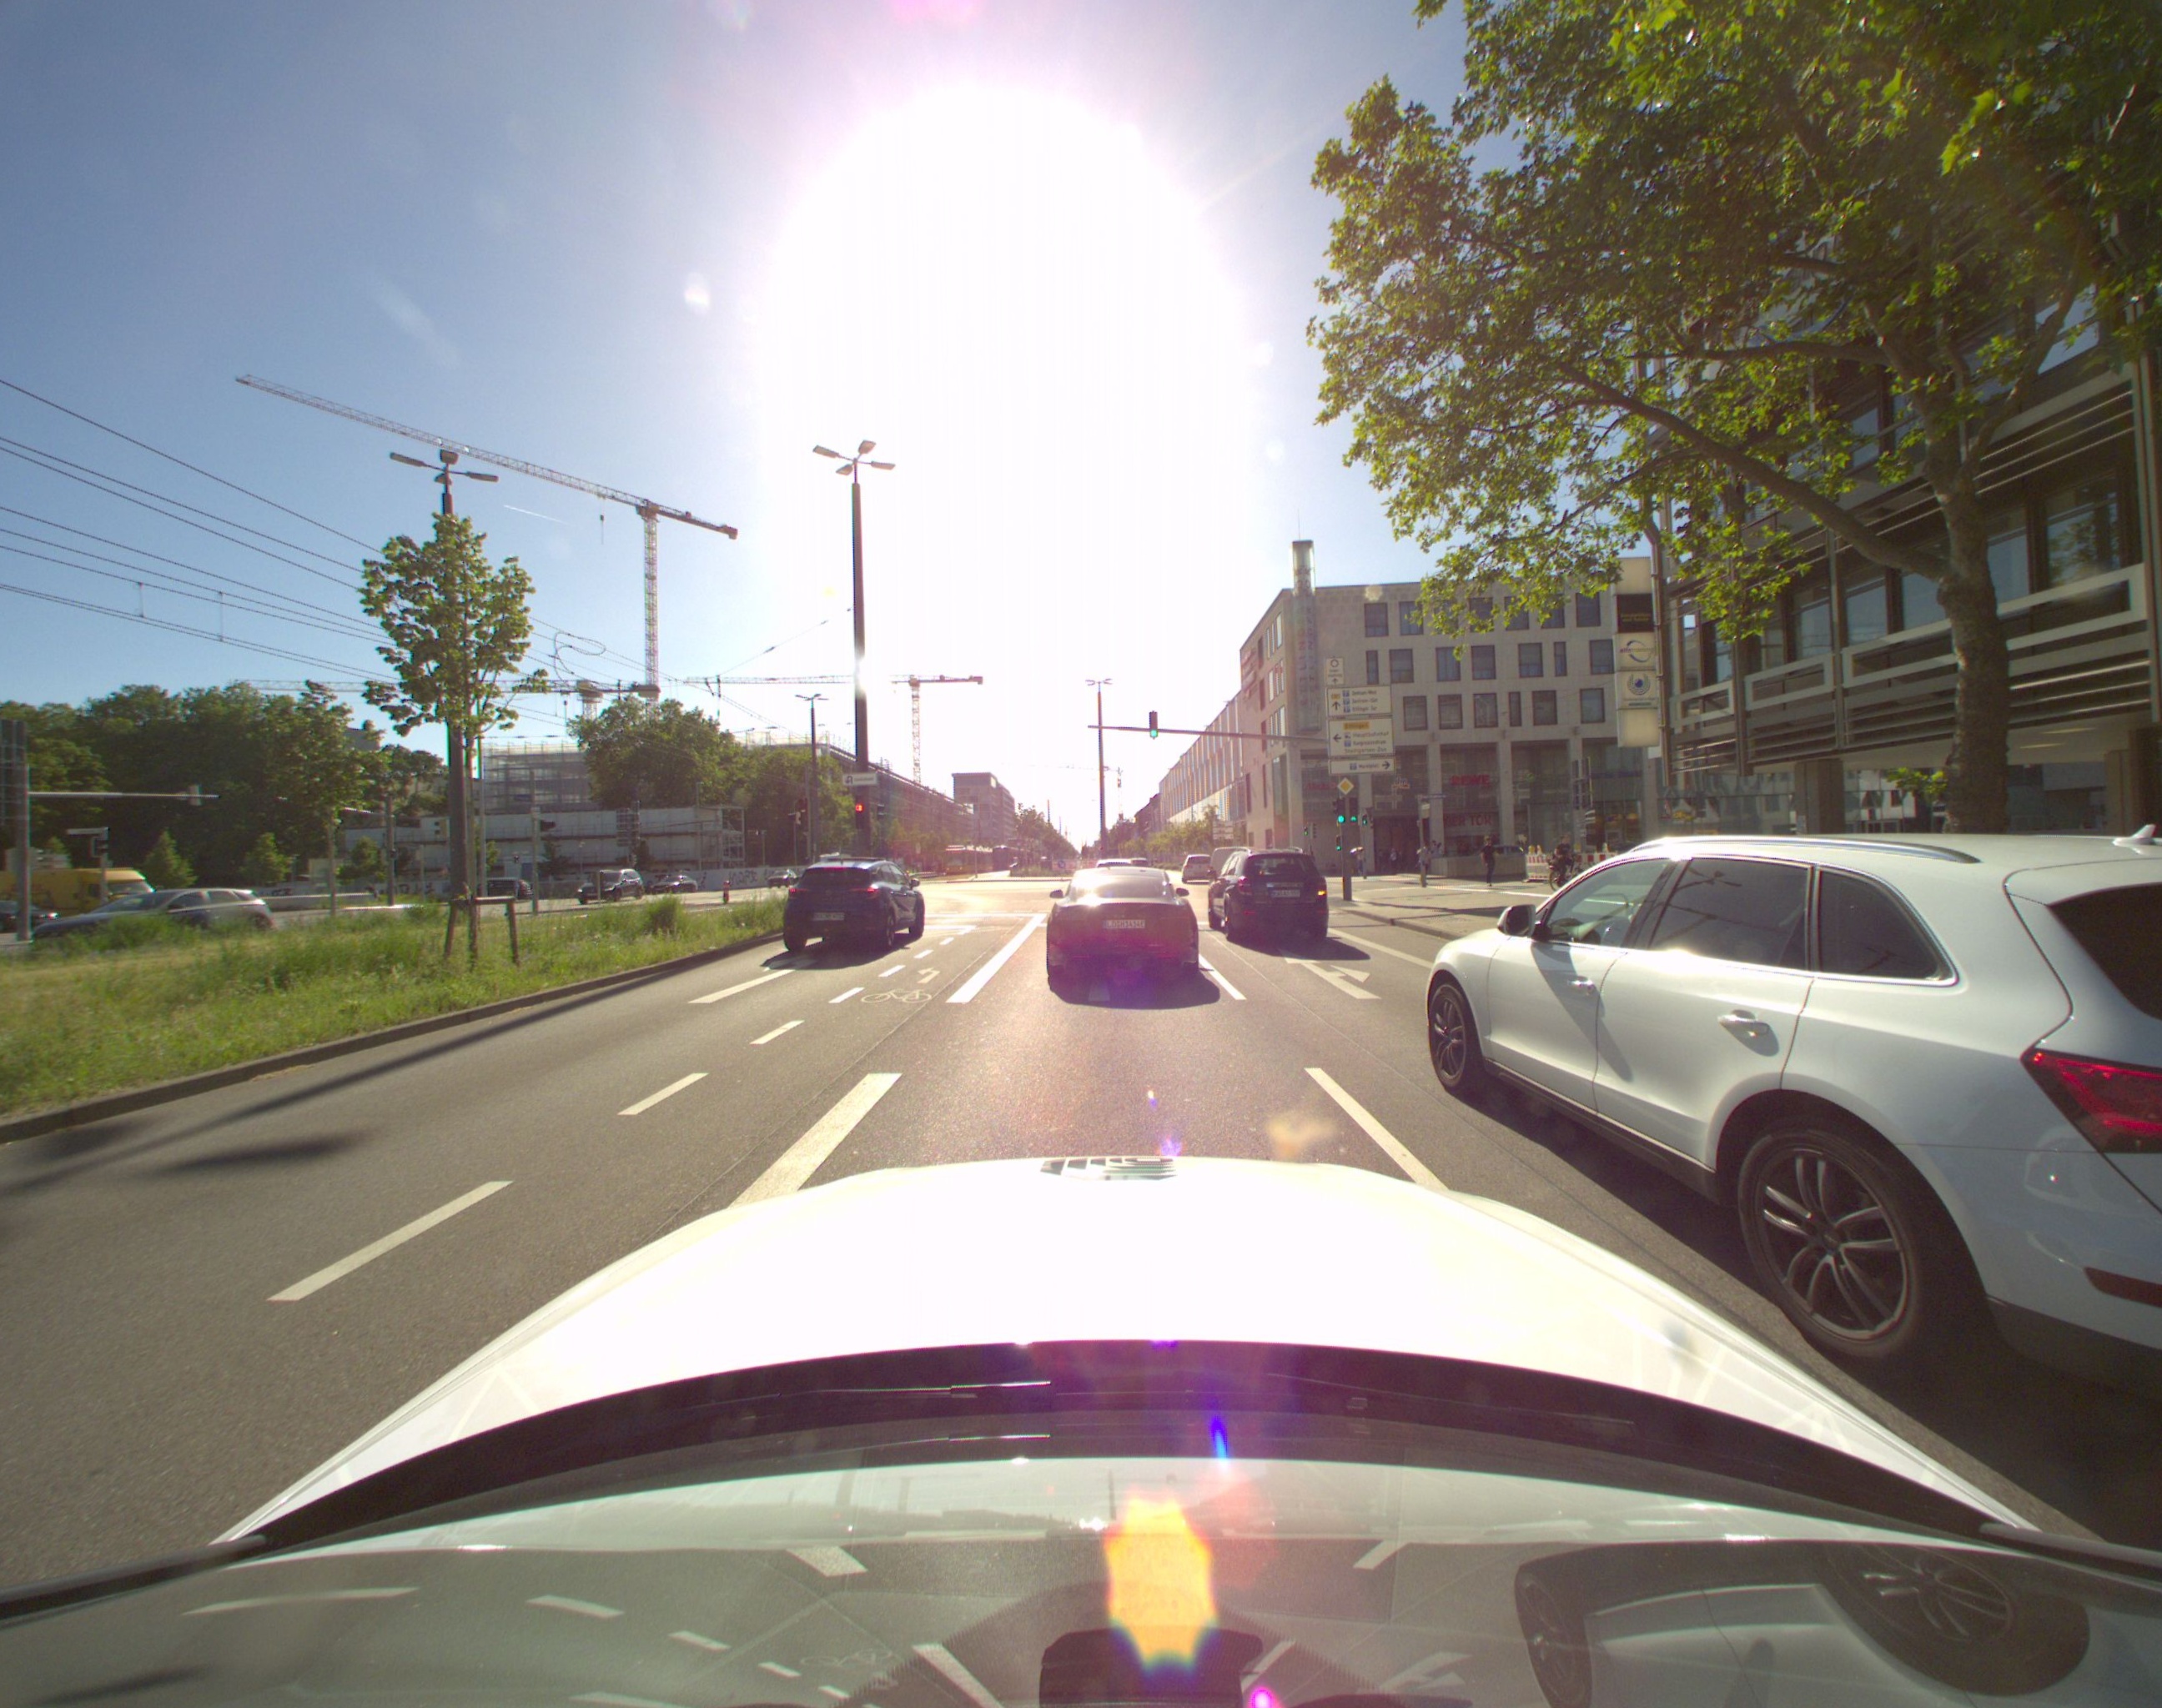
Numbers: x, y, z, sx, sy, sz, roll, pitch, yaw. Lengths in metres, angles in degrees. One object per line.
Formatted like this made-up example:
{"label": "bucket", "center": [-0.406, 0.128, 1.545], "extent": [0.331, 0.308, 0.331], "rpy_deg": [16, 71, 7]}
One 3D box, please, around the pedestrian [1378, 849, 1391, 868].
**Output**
{"label": "pedestrian", "center": [25.273, 0.379, 67.874], "extent": [0.559, 1.608, 0.742], "rpy_deg": [-2, 0, -35]}

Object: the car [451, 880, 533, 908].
{"label": "car", "center": [-39.611, 2.664, 54.872], "extent": [3.997, 1.601, 1.988], "rpy_deg": [-2, 0, -18]}

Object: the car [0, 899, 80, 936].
{"label": "car", "center": [-48.749, 2.920, 37.193], "extent": [3.967, 1.539, 1.907], "rpy_deg": [-2, -1, 6]}

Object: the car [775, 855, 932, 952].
{"label": "car", "center": [-4.103, 0.826, 15.401], "extent": [1.764, 1.588, 4.089], "rpy_deg": [0, 0, 1]}

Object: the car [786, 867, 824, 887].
{"label": "car", "center": [-24.803, 2.035, 73.271], "extent": [1.939, 1.707, 4.366], "rpy_deg": [-2, 0, 0]}

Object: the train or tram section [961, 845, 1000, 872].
{"label": "train or tram section", "center": [-13.092, 0.708, 107.504], "extent": [2.838, 3.322, 15.966], "rpy_deg": [0, -1, 1]}

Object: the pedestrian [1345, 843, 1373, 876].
{"label": "pedestrian", "center": [15.891, 0.303, 46.568], "extent": [0.963, 1.801, 1.523], "rpy_deg": [-4, -1, 1]}

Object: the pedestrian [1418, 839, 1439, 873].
{"label": "pedestrian", "center": [17.387, 0.099, 40.744], "extent": [0.659, 1.612, 0.525], "rpy_deg": [-4, -1, -8]}

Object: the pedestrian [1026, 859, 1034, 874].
{"label": "pedestrian", "center": [-5.651, 1.336, 89.641], "extent": [0.739, 1.628, 0.862], "rpy_deg": [-2, -1, 2]}

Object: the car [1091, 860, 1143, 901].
{"label": "car", "center": [1.279, 0.898, 29.464], "extent": [1.710, 1.320, 4.001], "rpy_deg": [-1, 0, 2]}

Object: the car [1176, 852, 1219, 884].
{"label": "car", "center": [6.064, 0.701, 42.869], "extent": [1.778, 1.546, 4.041], "rpy_deg": [-1, 0, 2]}

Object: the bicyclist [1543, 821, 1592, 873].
{"label": "bicyclist", "center": [14.263, -0.201, 23.909], "extent": [0.878, 1.477, 0.883], "rpy_deg": [-2, 0, 1]}

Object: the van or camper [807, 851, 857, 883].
{"label": "van or camper", "center": [-24.788, 1.256, 81.461], "extent": [2.597, 2.937, 7.340], "rpy_deg": [-2, 0, 0]}

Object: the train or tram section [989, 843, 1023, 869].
{"label": "train or tram section", "center": [-10.029, 0.355, 110.491], "extent": [2.860, 3.279, 15.186], "rpy_deg": [0, 0, 1]}

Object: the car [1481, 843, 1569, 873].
{"label": "car", "center": [26.232, 0.265, 48.225], "extent": [4.168, 1.613, 1.862], "rpy_deg": [-2, -2, 3]}

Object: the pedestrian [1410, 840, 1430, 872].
{"label": "pedestrian", "center": [17.186, 0.100, 41.314], "extent": [0.659, 1.612, 0.525], "rpy_deg": [-4, -1, -8]}

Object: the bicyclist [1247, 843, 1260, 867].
{"label": "bicyclist", "center": [13.026, 0.070, 61.529], "extent": [0.723, 1.737, 0.996], "rpy_deg": [-2, -1, -3]}

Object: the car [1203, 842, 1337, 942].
{"label": "car", "center": [3.604, 0.661, 16.342], "extent": [1.778, 1.699, 4.415], "rpy_deg": [-1, 0, 2]}

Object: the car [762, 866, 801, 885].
{"label": "car", "center": [-28.671, 2.031, 78.117], "extent": [1.987, 1.707, 4.560], "rpy_deg": [-2, 0, 0]}

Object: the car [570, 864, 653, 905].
{"label": "car", "center": [-24.280, 1.526, 42.258], "extent": [1.864, 1.955, 4.001], "rpy_deg": [-2, 0, 1]}

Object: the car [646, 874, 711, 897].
{"label": "car", "center": [-31.328, 2.427, 63.449], "extent": [1.974, 1.601, 4.026], "rpy_deg": [-2, -1, 37]}

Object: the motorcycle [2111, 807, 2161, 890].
{"label": "motorcycle", "center": [19.284, -0.107, 13.862], "extent": [0.820, 1.441, 2.123], "rpy_deg": [-2, 0, 1]}

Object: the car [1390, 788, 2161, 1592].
{"label": "car", "center": [3.141, 0.654, 3.828], "extent": [1.812, 1.613, 4.415], "rpy_deg": [-1, 0, 2]}

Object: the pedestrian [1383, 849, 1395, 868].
{"label": "pedestrian", "center": [25.805, 0.383, 68.273], "extent": [0.559, 1.608, 0.742], "rpy_deg": [-2, 0, -36]}

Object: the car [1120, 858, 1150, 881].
{"label": "car", "center": [3.386, 0.938, 51.295], "extent": [1.710, 1.320, 4.001], "rpy_deg": [-1, 0, 2]}

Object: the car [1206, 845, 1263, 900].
{"label": "car", "center": [5.324, 0.598, 28.063], "extent": [1.773, 1.733, 4.177], "rpy_deg": [-1, 0, 12]}

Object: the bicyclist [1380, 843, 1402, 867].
{"label": "bicyclist", "center": [20.126, 0.066, 52.828], "extent": [1.017, 1.476, 1.073], "rpy_deg": [-2, -1, 5]}

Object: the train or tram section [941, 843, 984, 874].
{"label": "train or tram section", "center": [-13.362, 0.537, 92.986], "extent": [2.860, 3.310, 13.073], "rpy_deg": [0, 0, 1]}

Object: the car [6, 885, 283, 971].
{"label": "car", "center": [-22.412, 1.691, 19.775], "extent": [1.818, 1.689, 4.096], "rpy_deg": [-2, 0, 4]}

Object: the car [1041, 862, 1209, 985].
{"label": "car", "center": [0.615, 0.857, 11.982], "extent": [1.991, 1.434, 4.414], "rpy_deg": [-1, 0, 2]}

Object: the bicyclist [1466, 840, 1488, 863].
{"label": "bicyclist", "center": [25.539, -0.142, 52.517], "extent": [0.928, 1.433, 1.042], "rpy_deg": [-2, -1, 4]}
